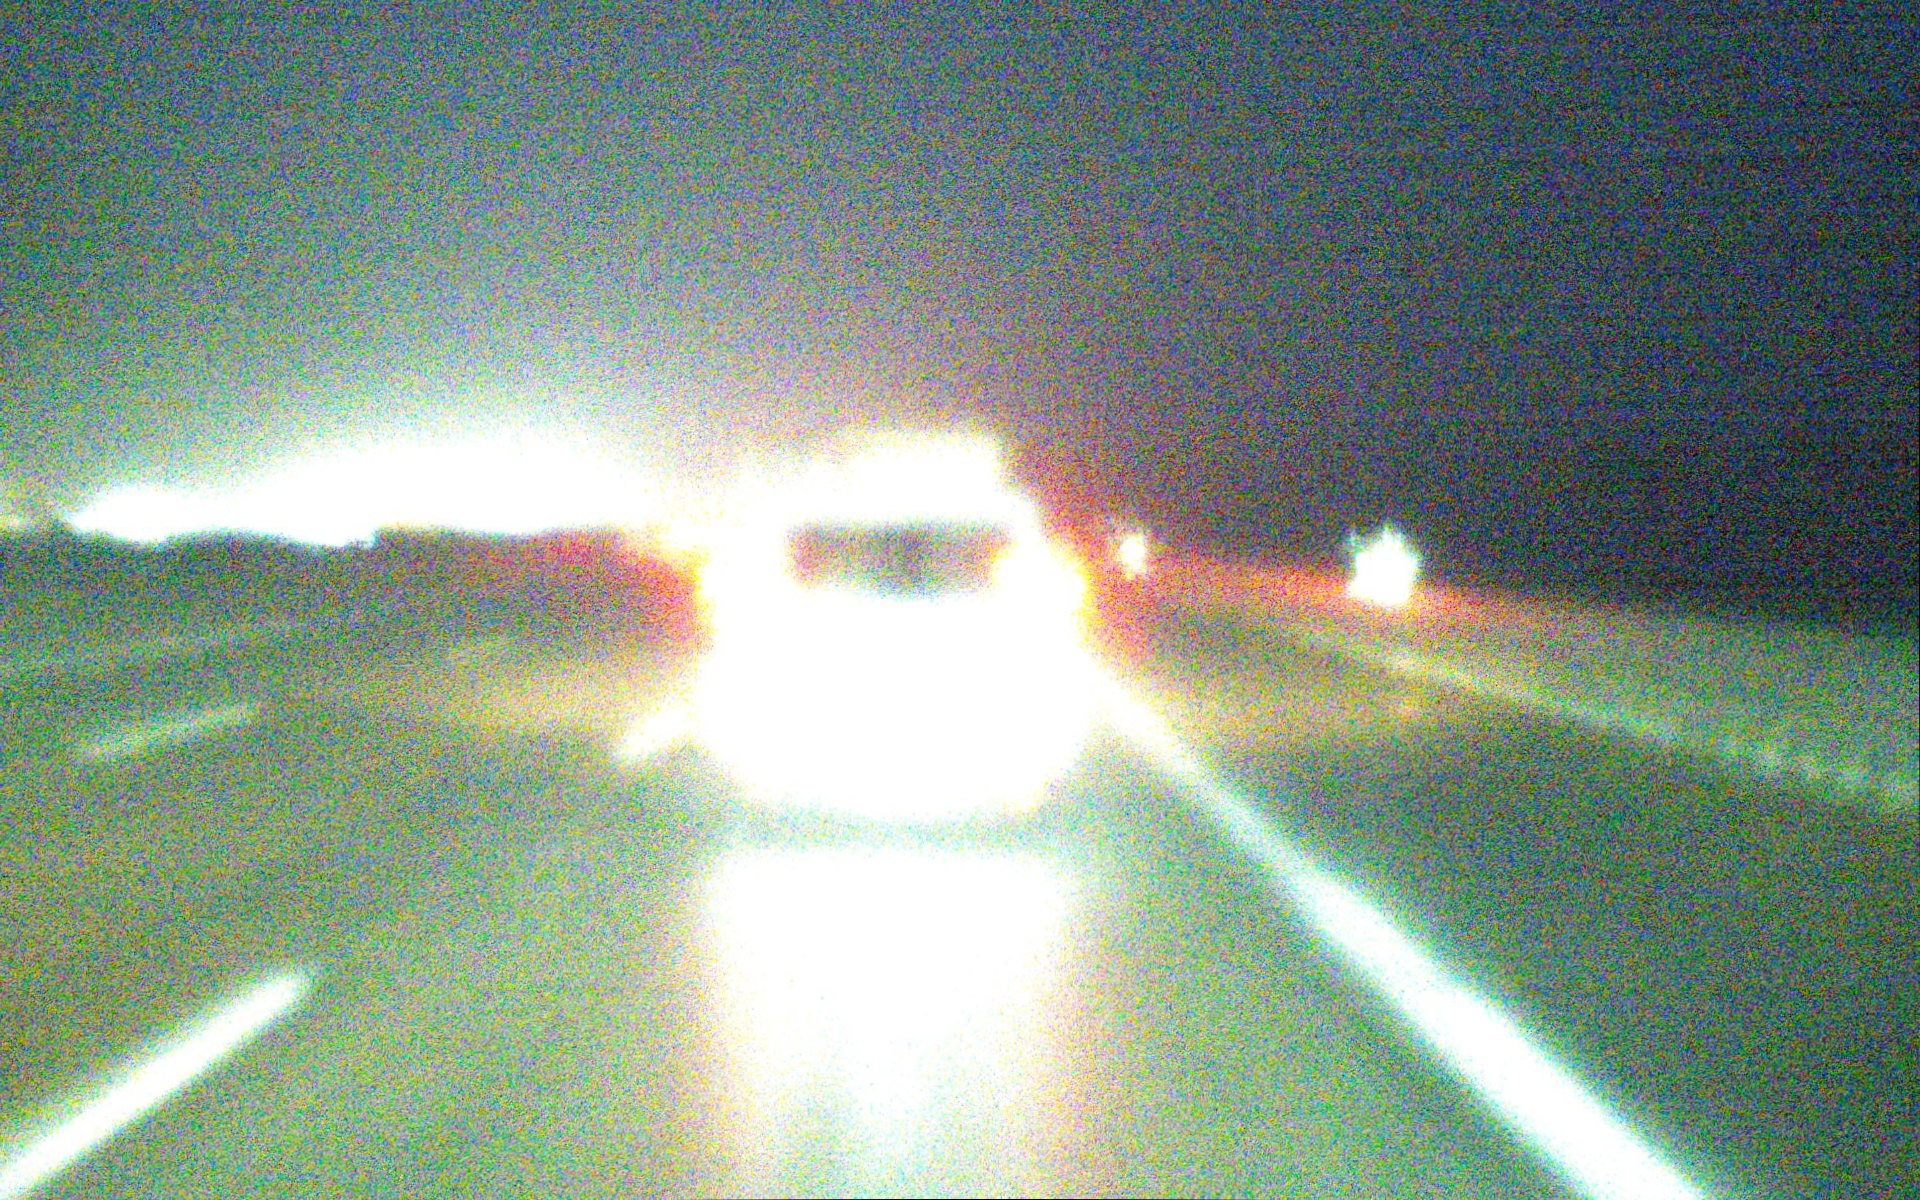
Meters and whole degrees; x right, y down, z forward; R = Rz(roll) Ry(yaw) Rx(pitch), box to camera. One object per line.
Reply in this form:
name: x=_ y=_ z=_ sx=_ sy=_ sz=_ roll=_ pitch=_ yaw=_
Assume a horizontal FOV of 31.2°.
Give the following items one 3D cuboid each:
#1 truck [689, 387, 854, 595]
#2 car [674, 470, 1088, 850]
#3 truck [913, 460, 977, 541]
truck: x=-5.297 y=-3.049 z=99.664 sx=4.167 sy=5.525 sz=13.075 roll=1 pitch=1 yaw=-1
car: x=-0.432 y=0.255 z=19.105 sx=1.953 sy=1.786 sz=5.124 roll=1 pitch=1 yaw=-1
truck: x=-1.014 y=-6.296 z=220.123 sx=3.824 sy=4.898 sz=11.607 roll=2 pitch=1 yaw=-1
